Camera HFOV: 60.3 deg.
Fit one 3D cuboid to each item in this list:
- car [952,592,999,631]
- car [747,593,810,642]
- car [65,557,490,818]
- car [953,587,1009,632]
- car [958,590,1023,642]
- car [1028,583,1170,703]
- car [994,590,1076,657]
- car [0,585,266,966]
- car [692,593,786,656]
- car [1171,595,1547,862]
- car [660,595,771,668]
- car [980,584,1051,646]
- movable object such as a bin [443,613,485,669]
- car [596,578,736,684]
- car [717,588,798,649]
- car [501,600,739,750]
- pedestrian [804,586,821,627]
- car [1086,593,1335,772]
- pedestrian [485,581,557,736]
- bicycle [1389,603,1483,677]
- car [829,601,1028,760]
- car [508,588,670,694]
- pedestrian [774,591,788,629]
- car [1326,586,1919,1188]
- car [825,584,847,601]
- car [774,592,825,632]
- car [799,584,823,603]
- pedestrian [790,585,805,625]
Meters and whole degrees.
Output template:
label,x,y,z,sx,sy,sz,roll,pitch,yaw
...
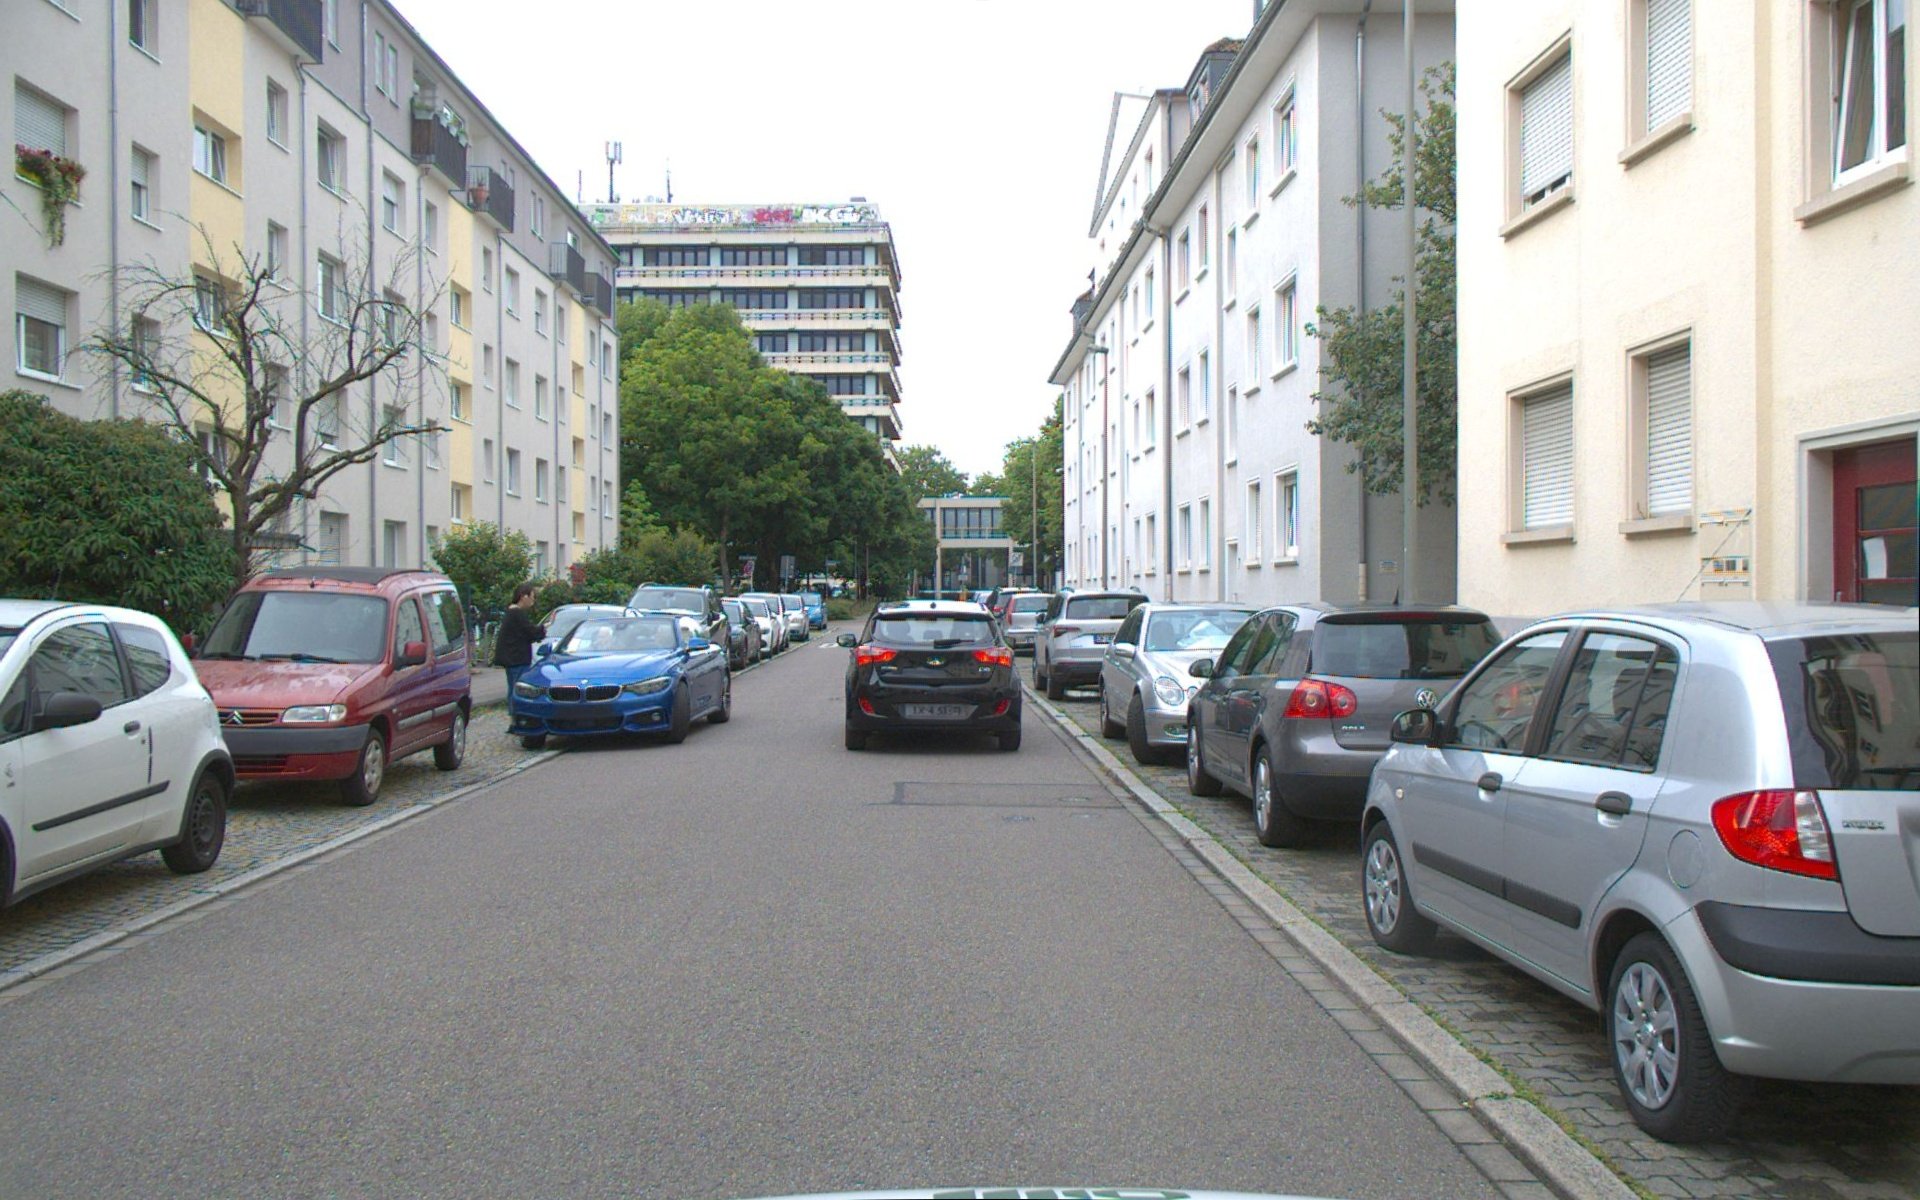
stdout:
label,x,y,z,sx,sy,sz,roll,pitch,yaw
car,0.616,0.457,68.694,1.783,1.546,4.672,1,0,-2
car,-6.187,0.571,56.857,1.954,1.568,3.997,1,0,-4
car,-5.371,0.605,13.719,1.918,1.801,4.359,1,0,-4
car,0.701,0.302,58.691,1.783,1.546,4.672,0,0,-2
car,0.920,0.460,52.205,1.784,1.546,4.672,0,0,-2
car,2.038,0.595,25.287,1.783,1.671,4.090,0,0,-1
car,1.818,0.545,41.230,1.783,1.529,4.090,-1,0,-1
car,-4.956,0.740,7.893,1.686,1.597,3.869,2,0,-1
car,-5.607,0.587,42.439,1.857,1.477,4.520,2,0,-1
car,2.537,0.733,11.407,1.570,1.502,3.868,1,0,-1
car,-5.446,0.661,37.340,1.857,1.477,4.665,2,0,-1
car,1.506,0.386,45.943,1.783,1.631,4.090,0,0,-1
movable object such as a bin,-8.779,0.718,29.297,0.540,0.971,0.635,-1,0,-2
car,-5.404,0.525,30.926,1.857,1.770,4.473,2,0,-1
car,-5.897,0.501,48.555,1.857,1.626,4.520,2,0,-1
car,-3.743,0.764,18.993,1.807,1.476,4.501,0,0,0
pedestrian,-6.921,0.299,77.463,0.699,1.863,0.797,0,0,0
car,2.306,0.695,16.314,1.690,1.502,4.503,0,0,-1
pedestrian,-5.058,0.654,19.026,0.729,1.731,0.792,-1,0,-19
bicycle,7.117,0.598,24.741,1.266,1.081,0.497,0,0,1
car,-0.320,0.759,17.717,1.864,1.458,4.232,-1,0,-1
car,-5.600,0.568,25.373,1.709,1.490,3.785,0,0,-1
pedestrian,-8.354,0.466,77.246,0.588,1.743,0.648,0,0,0
car,2.752,0.694,6.025,1.812,1.475,3.830,0,0,-3
car,-10.551,-0.649,140.721,1.632,1.356,3.395,0,1,-1
car,-6.671,0.483,69.164,1.954,1.568,3.997,1,0,-4
car,-11.450,-0.509,127.260,1.632,1.356,3.395,0,1,-1
pedestrian,-7.620,0.209,77.517,0.592,1.863,0.675,0,0,0
